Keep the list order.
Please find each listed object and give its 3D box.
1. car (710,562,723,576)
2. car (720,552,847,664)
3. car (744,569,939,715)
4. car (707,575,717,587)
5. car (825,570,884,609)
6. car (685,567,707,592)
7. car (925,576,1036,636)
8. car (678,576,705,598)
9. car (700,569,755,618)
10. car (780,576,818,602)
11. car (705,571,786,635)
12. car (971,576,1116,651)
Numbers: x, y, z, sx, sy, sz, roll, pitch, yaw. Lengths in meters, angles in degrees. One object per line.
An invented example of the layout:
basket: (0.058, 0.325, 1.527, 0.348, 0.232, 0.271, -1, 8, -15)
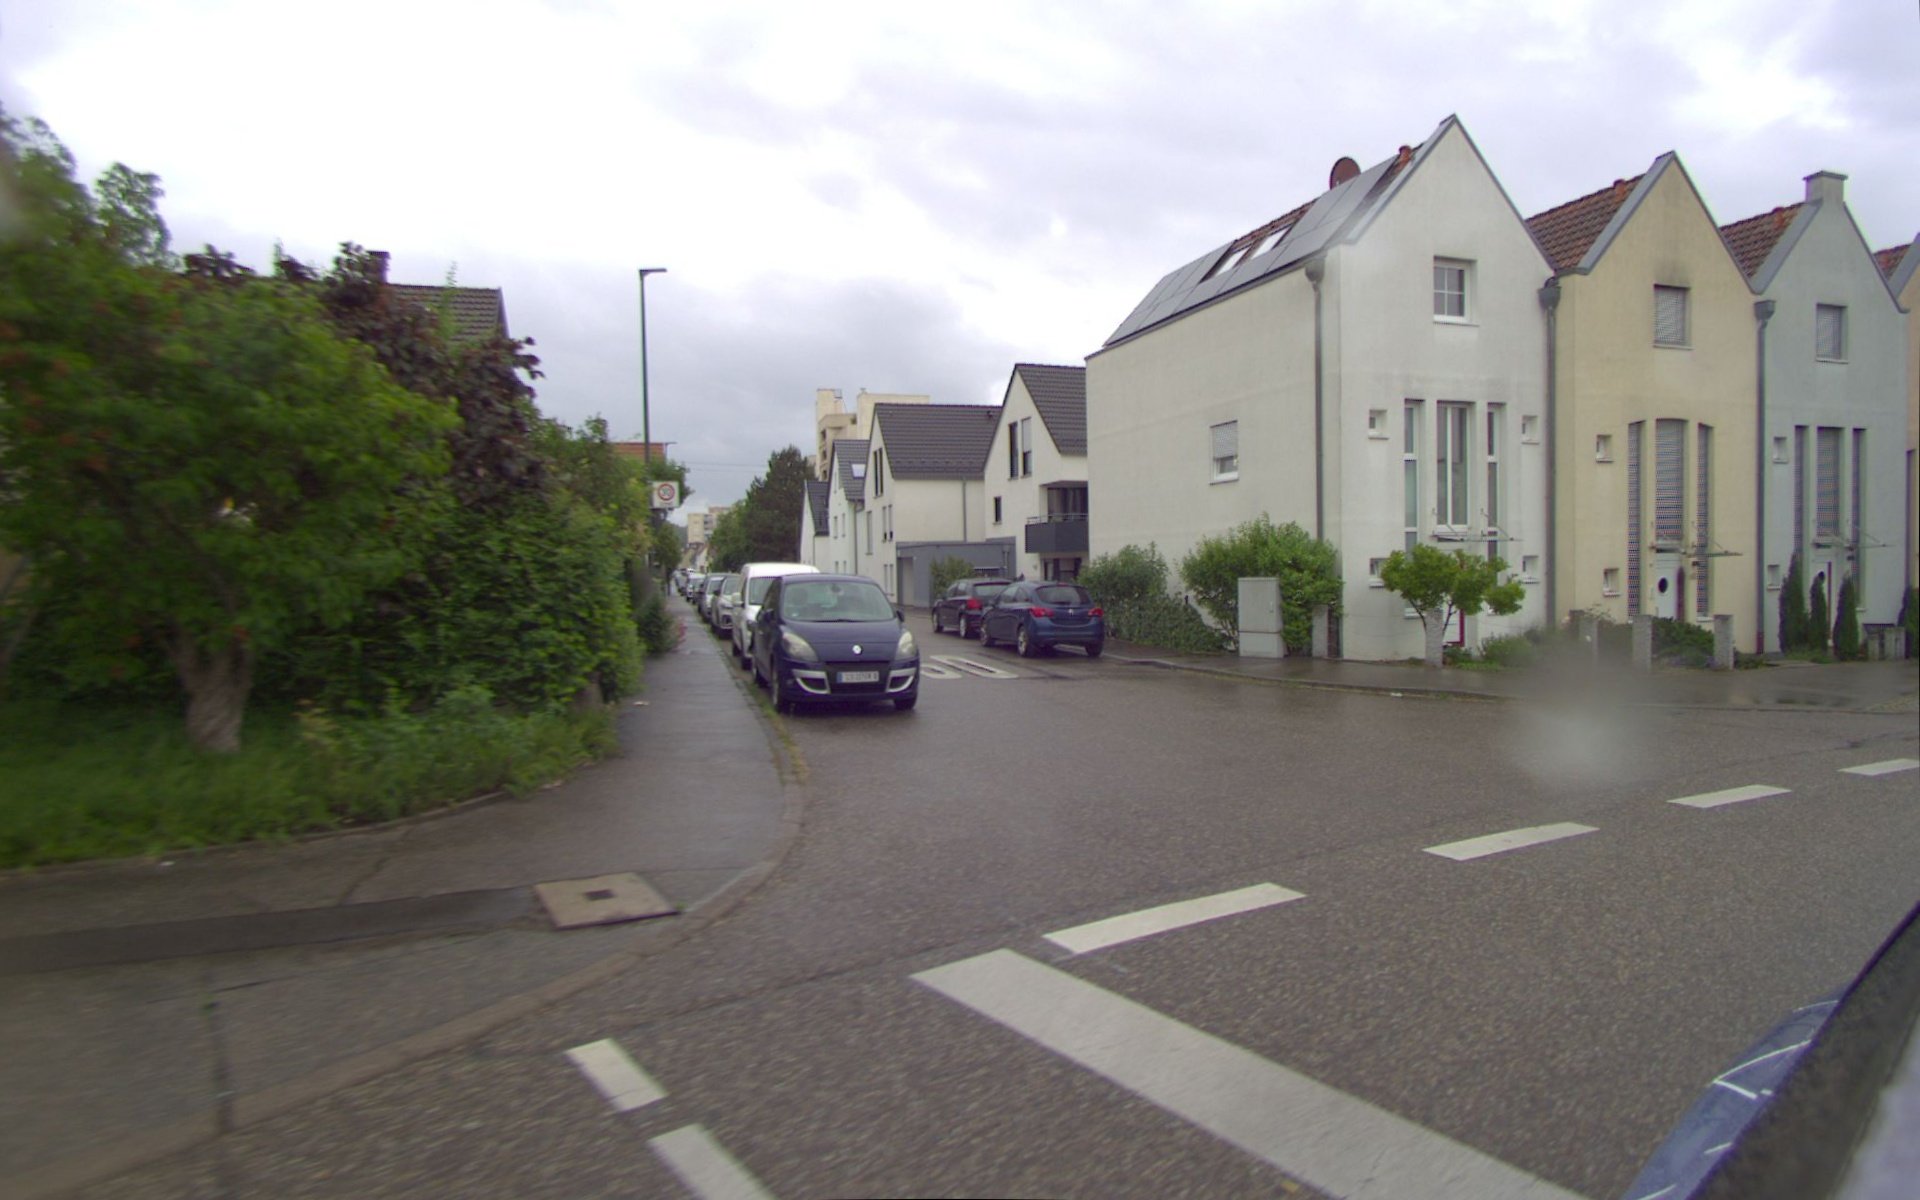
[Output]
car: (-39.065, -4.955, 162.201, 1.854, 2.038, 4.009, 2, 1, -14)
car: (-3.449, 0.083, 19.052, 1.766, 1.826, 4.710, 0, 1, -17)
car: (-1.727, 0.402, 13.340, 1.825, 1.605, 4.155, 0, 1, -17)
car: (-47.527, -3.646, 194.018, 1.854, 2.038, 4.009, 2, 1, -14)
car: (-4.434, -0.459, 42.178, 1.709, 1.527, 3.952, 0, 1, -17)
car: (-27.389, -2.104, 104.785, 1.979, 2.471, 4.716, 0, 1, -17)
car: (0.437, 0.101, 25.818, 1.754, 1.417, 3.723, 0, 1, -17)
car: (-19.128, -0.943, 71.907, 1.709, 1.527, 3.952, 0, 1, -17)
car: (-7.736, -0.230, 33.464, 1.631, 1.527, 3.419, 0, 1, -15)
car: (-9.635, -0.678, 60.295, 1.709, 1.527, 3.952, 0, 1, -17)
car: (-5.597, 0.025, 26.060, 1.709, 1.527, 3.952, 0, 1, -17)
car: (1.632, 0.213, 21.130, 1.766, 1.424, 3.743, 0, 1, -17)
